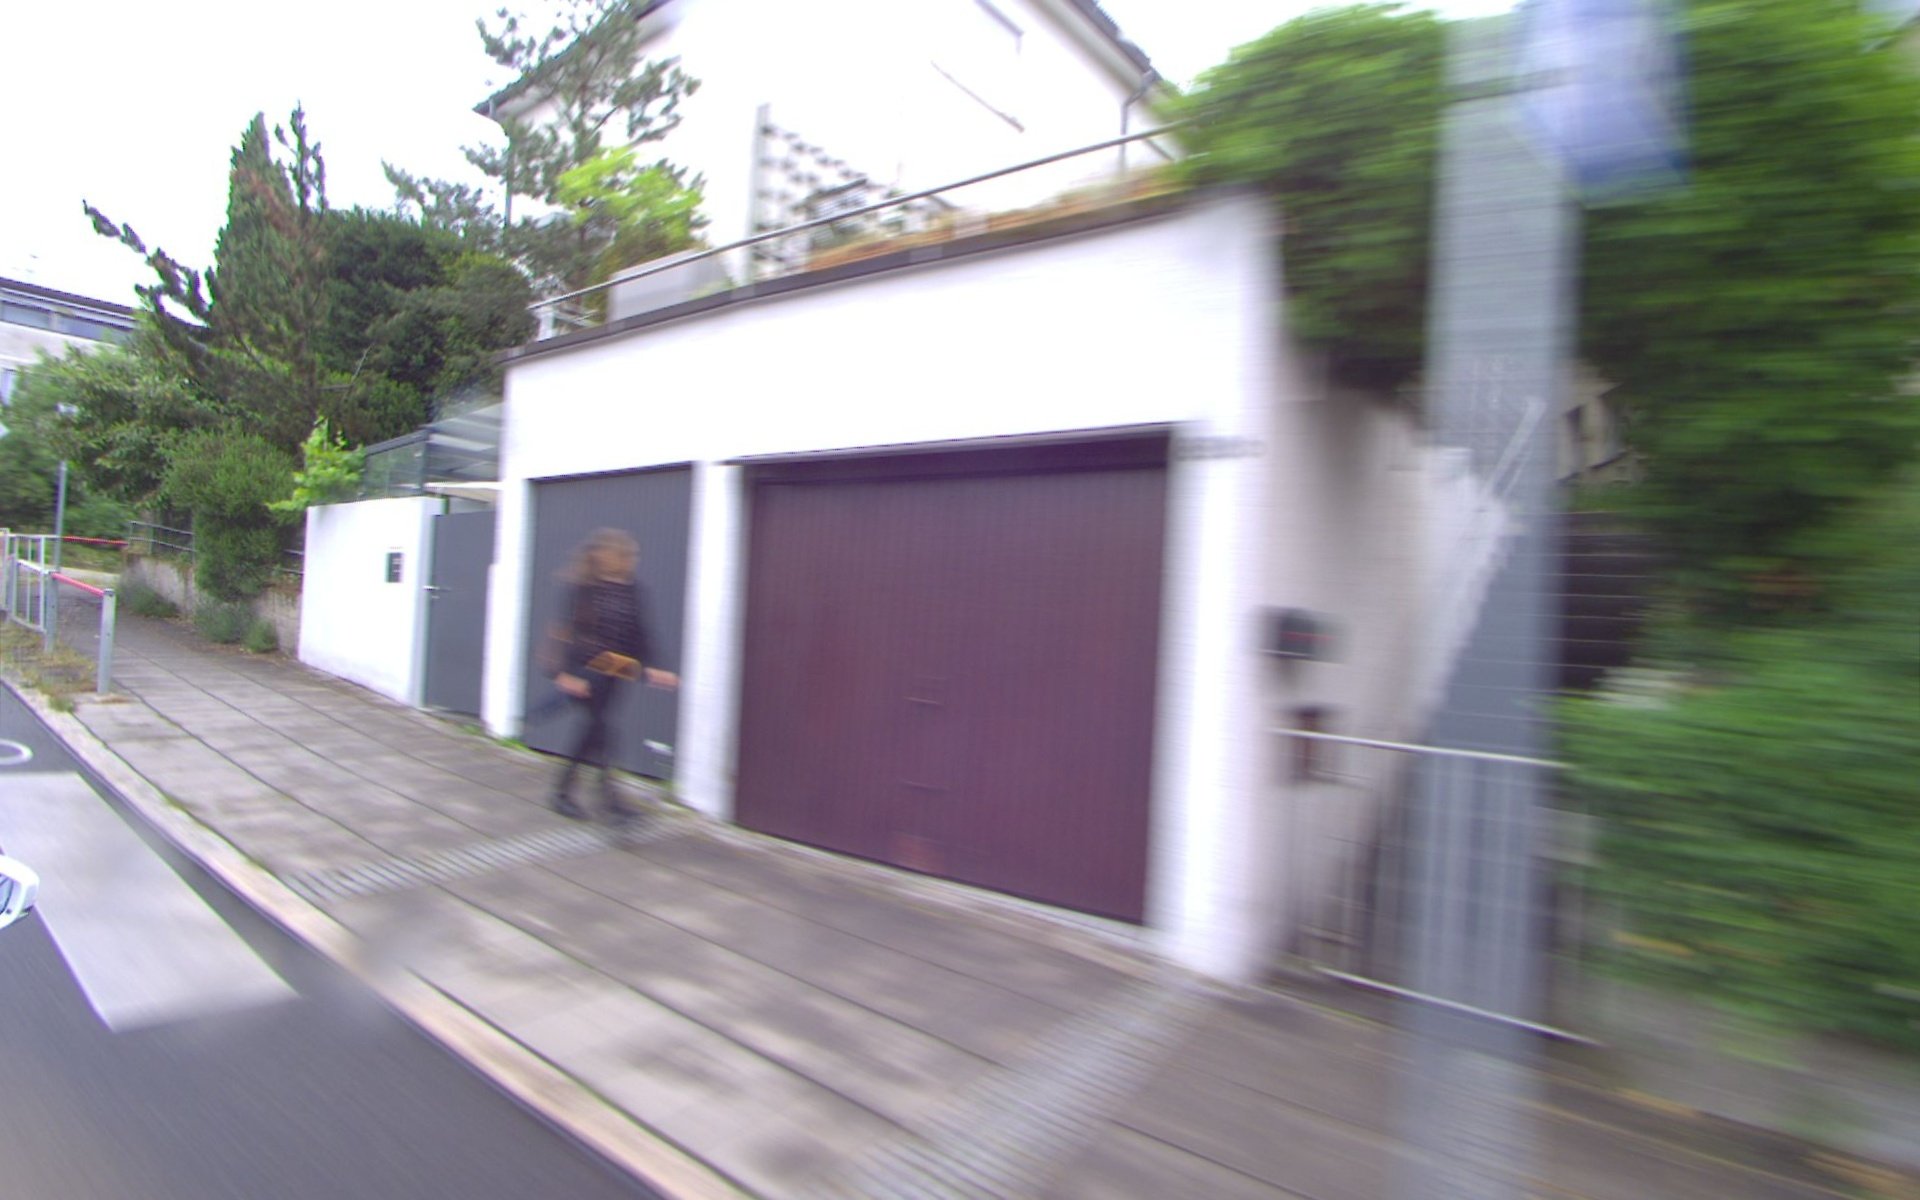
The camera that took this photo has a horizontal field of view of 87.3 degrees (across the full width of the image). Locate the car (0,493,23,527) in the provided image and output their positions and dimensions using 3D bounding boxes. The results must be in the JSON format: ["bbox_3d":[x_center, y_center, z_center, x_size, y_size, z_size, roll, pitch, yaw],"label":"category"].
[{"bbox_3d":[-43.644,-4.165,43.746,3.965,1.432,1.708,7,-1,-36],"label":"car"}]

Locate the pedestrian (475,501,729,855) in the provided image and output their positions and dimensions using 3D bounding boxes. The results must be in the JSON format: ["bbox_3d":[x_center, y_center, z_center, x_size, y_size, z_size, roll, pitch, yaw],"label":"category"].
[{"bbox_3d":[-2.006,0.378,5.618,1.045,1.745,0.802,6,2,39],"label":"pedestrian"}]
